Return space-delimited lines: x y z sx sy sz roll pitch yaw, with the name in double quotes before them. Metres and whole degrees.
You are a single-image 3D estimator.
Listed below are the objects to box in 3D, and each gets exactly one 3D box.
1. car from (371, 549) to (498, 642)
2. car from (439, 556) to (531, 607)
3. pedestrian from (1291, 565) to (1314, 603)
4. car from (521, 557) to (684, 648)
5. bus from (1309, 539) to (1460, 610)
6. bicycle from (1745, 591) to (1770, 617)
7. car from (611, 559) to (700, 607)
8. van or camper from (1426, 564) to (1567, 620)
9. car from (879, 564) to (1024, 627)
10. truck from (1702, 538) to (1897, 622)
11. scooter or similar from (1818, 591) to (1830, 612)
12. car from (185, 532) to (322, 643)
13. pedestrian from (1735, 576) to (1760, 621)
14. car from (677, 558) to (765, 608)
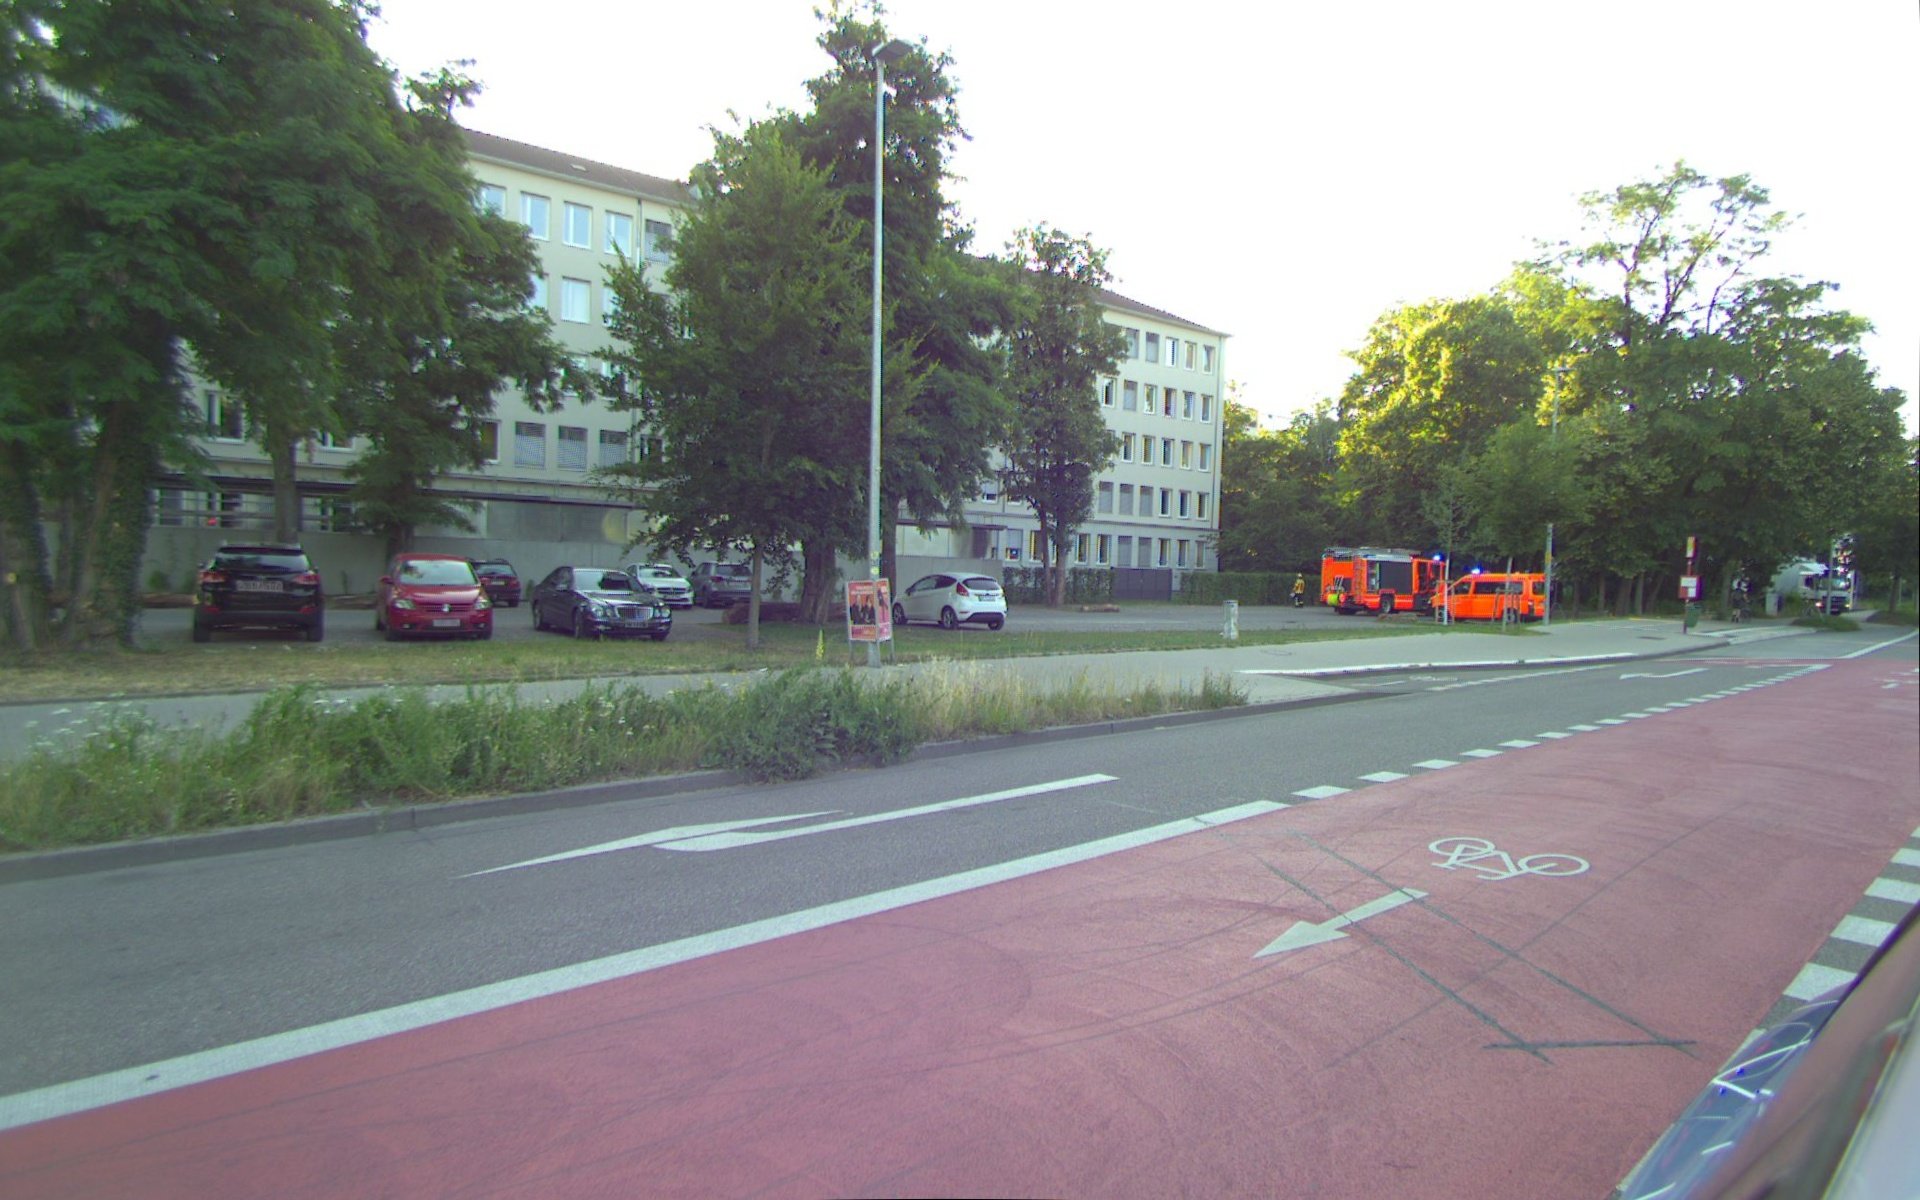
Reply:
"car" -10.204 -0.159 19.495 1.751 1.580 4.003 0 2 -34
"car" -14.513 -0.583 30.817 1.866 1.460 4.001 0 1 -35
"pedestrian" 18.817 -0.873 55.581 0.810 2.038 0.774 1 2 -32
"car" -7.496 -0.045 20.955 1.866 1.465 4.584 -2 5 -37
"bus" 20.837 -1.208 49.493 7.810 3.236 2.999 0 1 -34
"bicycle" 36.442 0.166 46.257 0.829 1.111 1.941 3 2 39
"car" -10.194 -0.570 33.673 1.798 1.494 4.002 0 1 -33
"van or camper" 22.933 -0.382 43.436 2.252 2.272 4.828 0 1 -36
"car" -0.310 -0.160 27.006 1.876 1.556 3.999 0 1 -37
"truck" 63.573 -1.617 77.550 5.083 5.642 15.026 2 2 13
"scooter or similar" 54.760 0.076 64.156 0.482 1.297 1.123 5 3 41
"car" -12.448 -0.249 17.836 1.802 1.715 3.910 0 1 -36
"pedestrian" 36.365 -0.080 46.722 0.683 2.038 0.724 0 2 -42
"car" -8.404 -0.632 35.370 1.875 1.637 4.004 -1 2 -32
